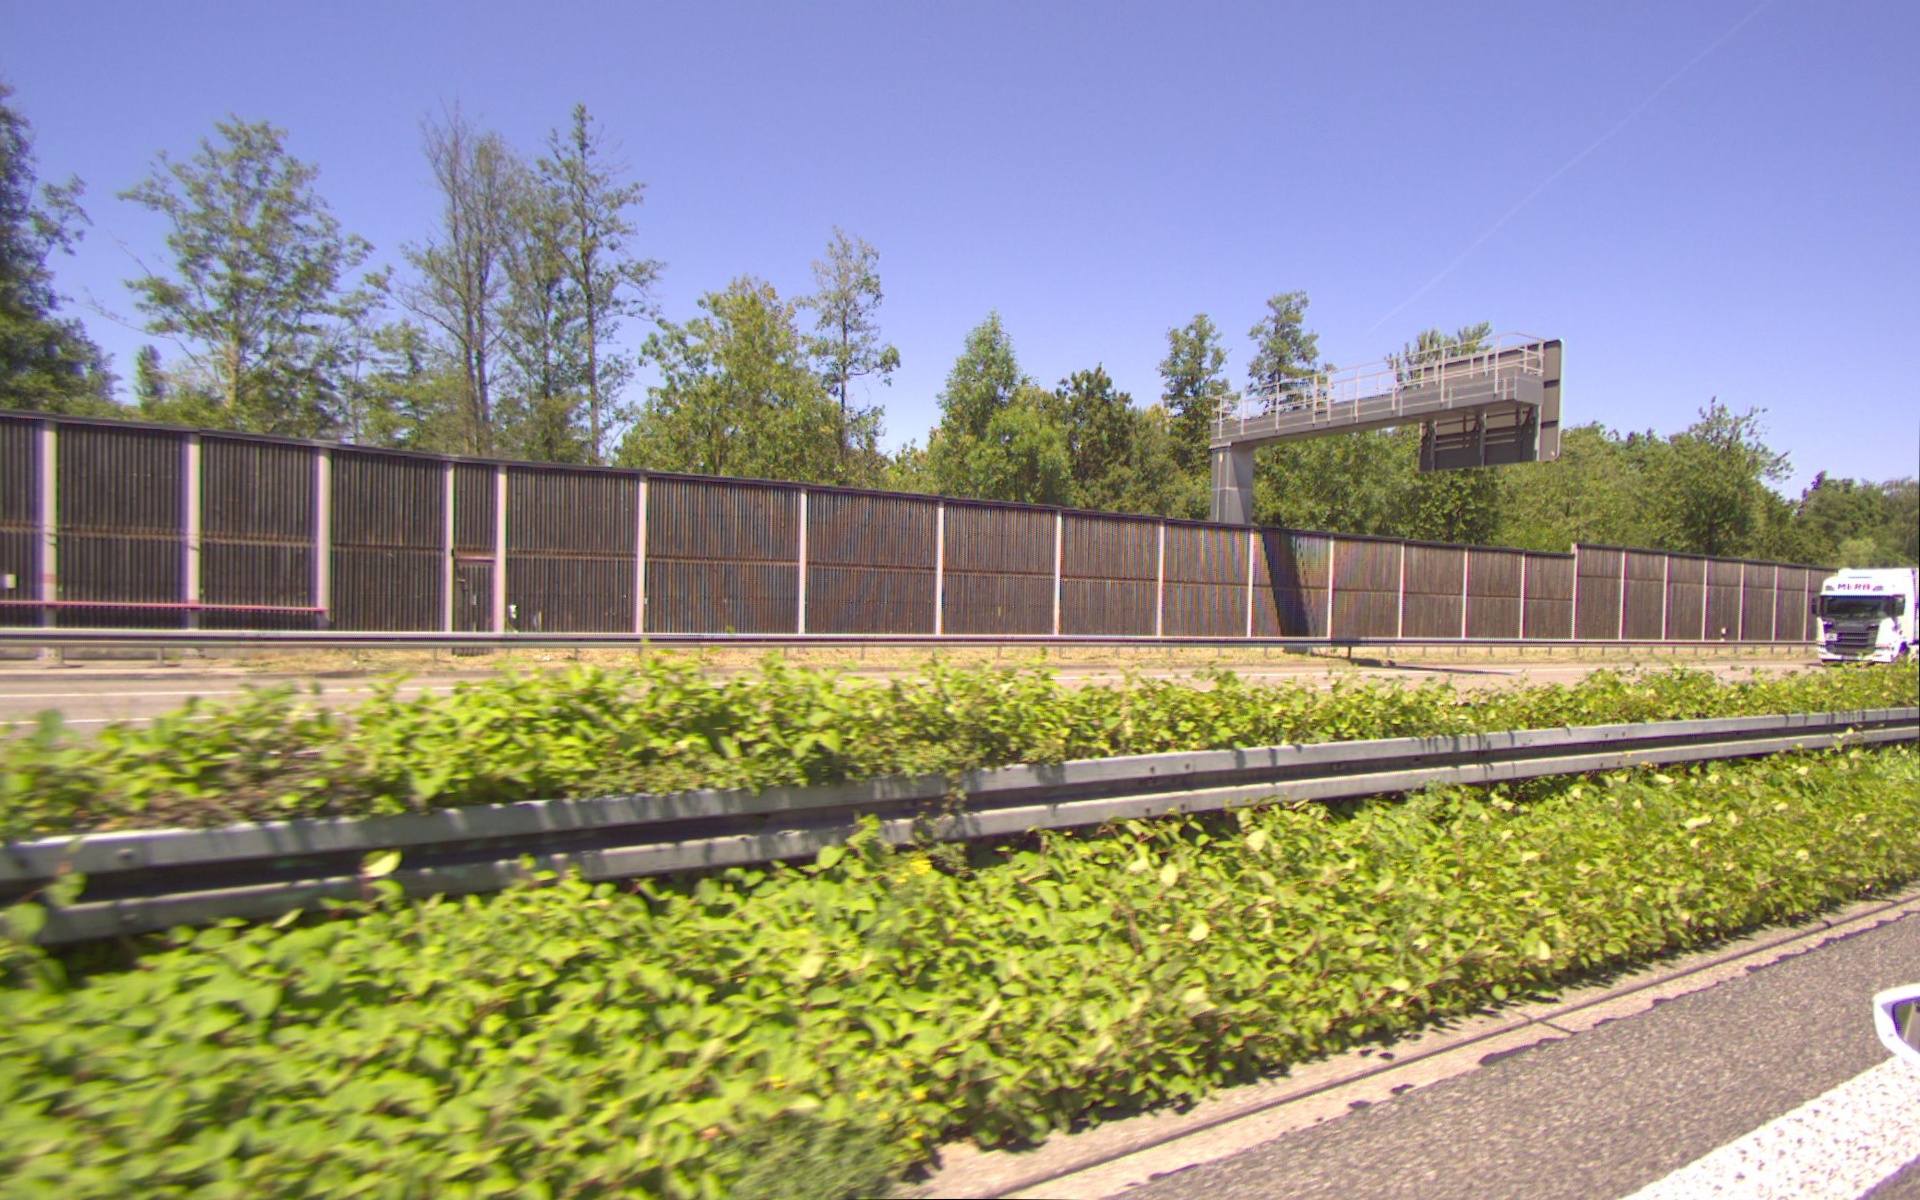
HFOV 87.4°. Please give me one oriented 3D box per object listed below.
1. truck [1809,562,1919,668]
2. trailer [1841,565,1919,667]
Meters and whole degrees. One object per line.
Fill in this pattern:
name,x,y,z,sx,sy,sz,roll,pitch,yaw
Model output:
truck,38.217,0.640,41.829,6.299,4.120,2.506,1,0,-32
trailer,44.165,0.804,45.490,13.498,4.190,2.471,2,0,-32
